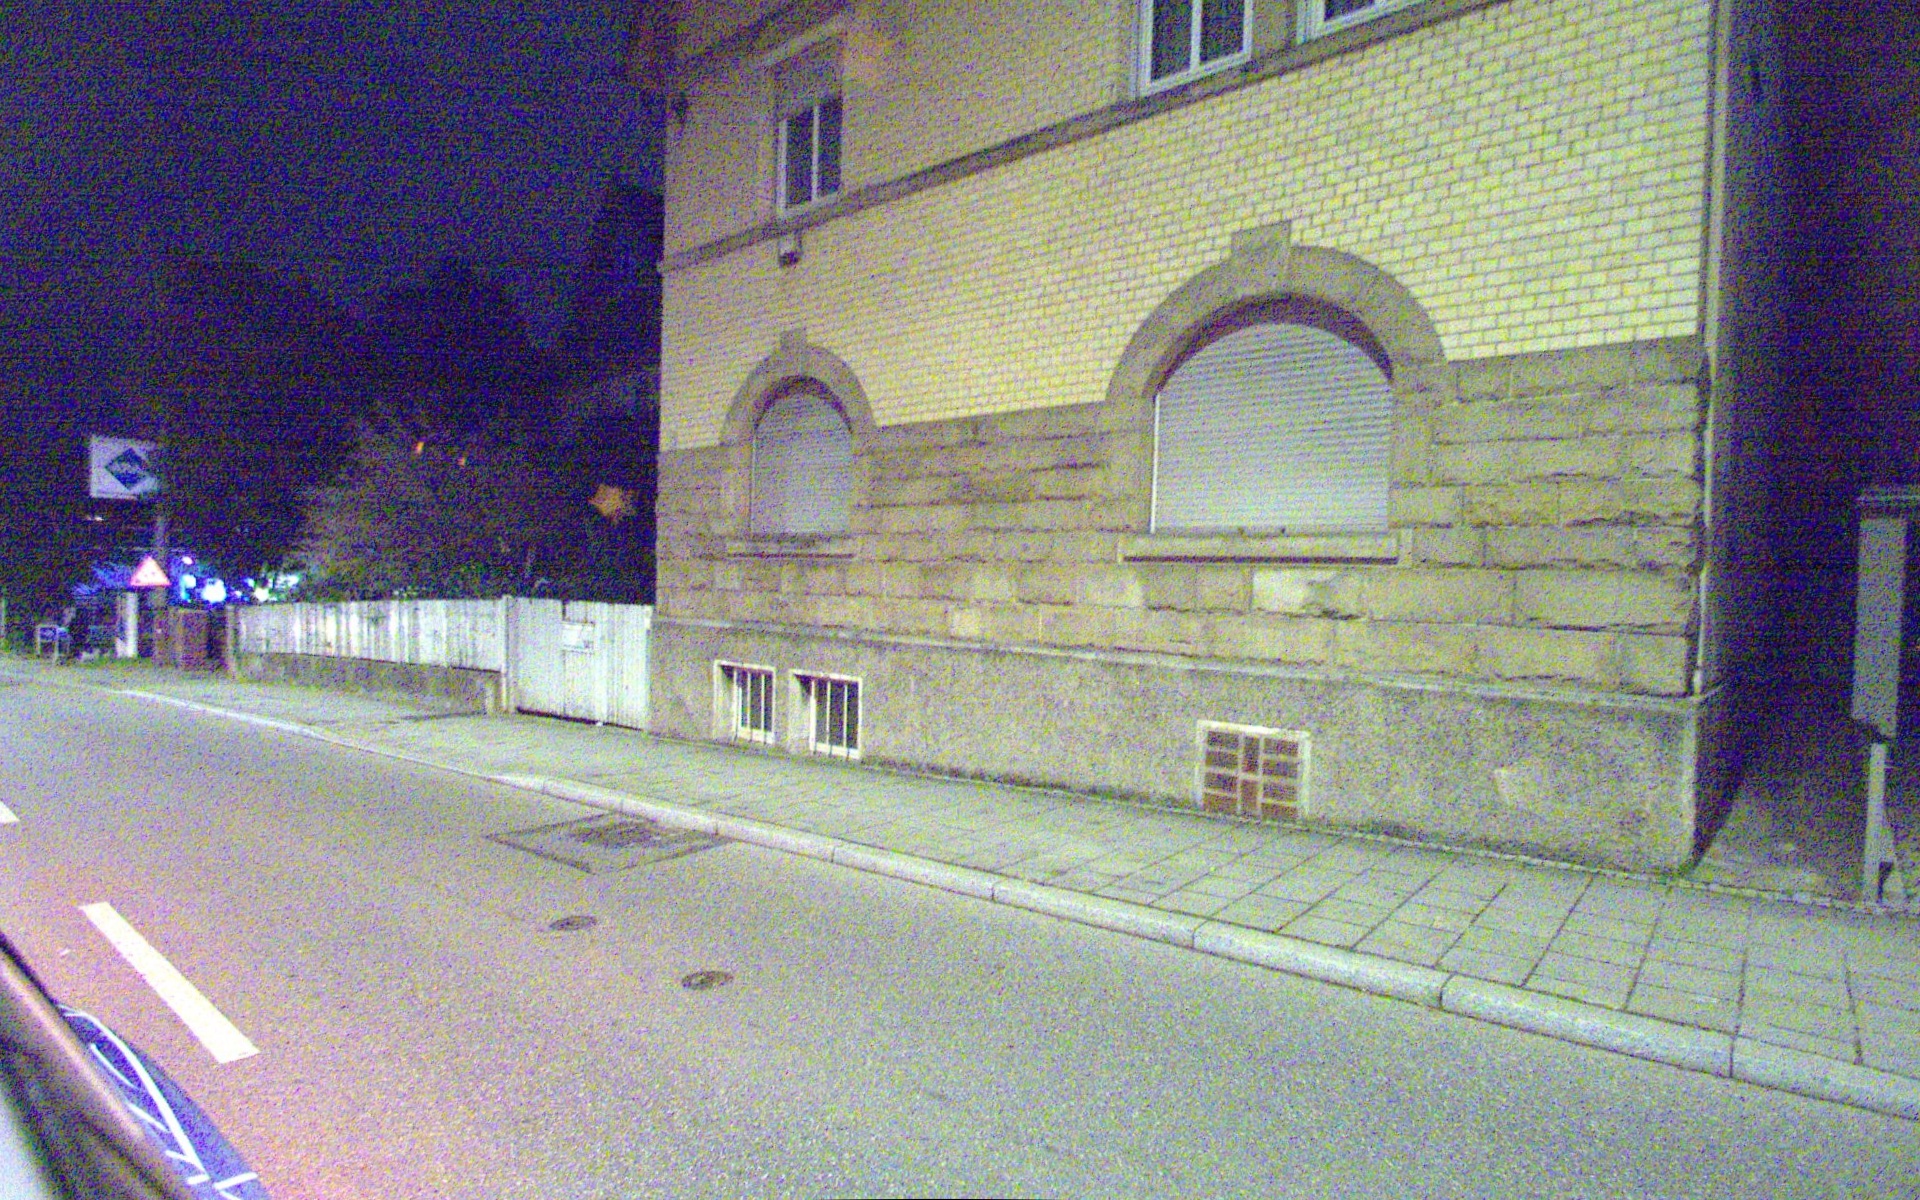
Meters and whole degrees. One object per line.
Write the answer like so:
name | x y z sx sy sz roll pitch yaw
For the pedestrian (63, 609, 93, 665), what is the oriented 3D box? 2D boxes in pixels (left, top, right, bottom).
pedestrian | -28.432 1.195 32.637 0.500 1.773 0.664 -1 0 41
